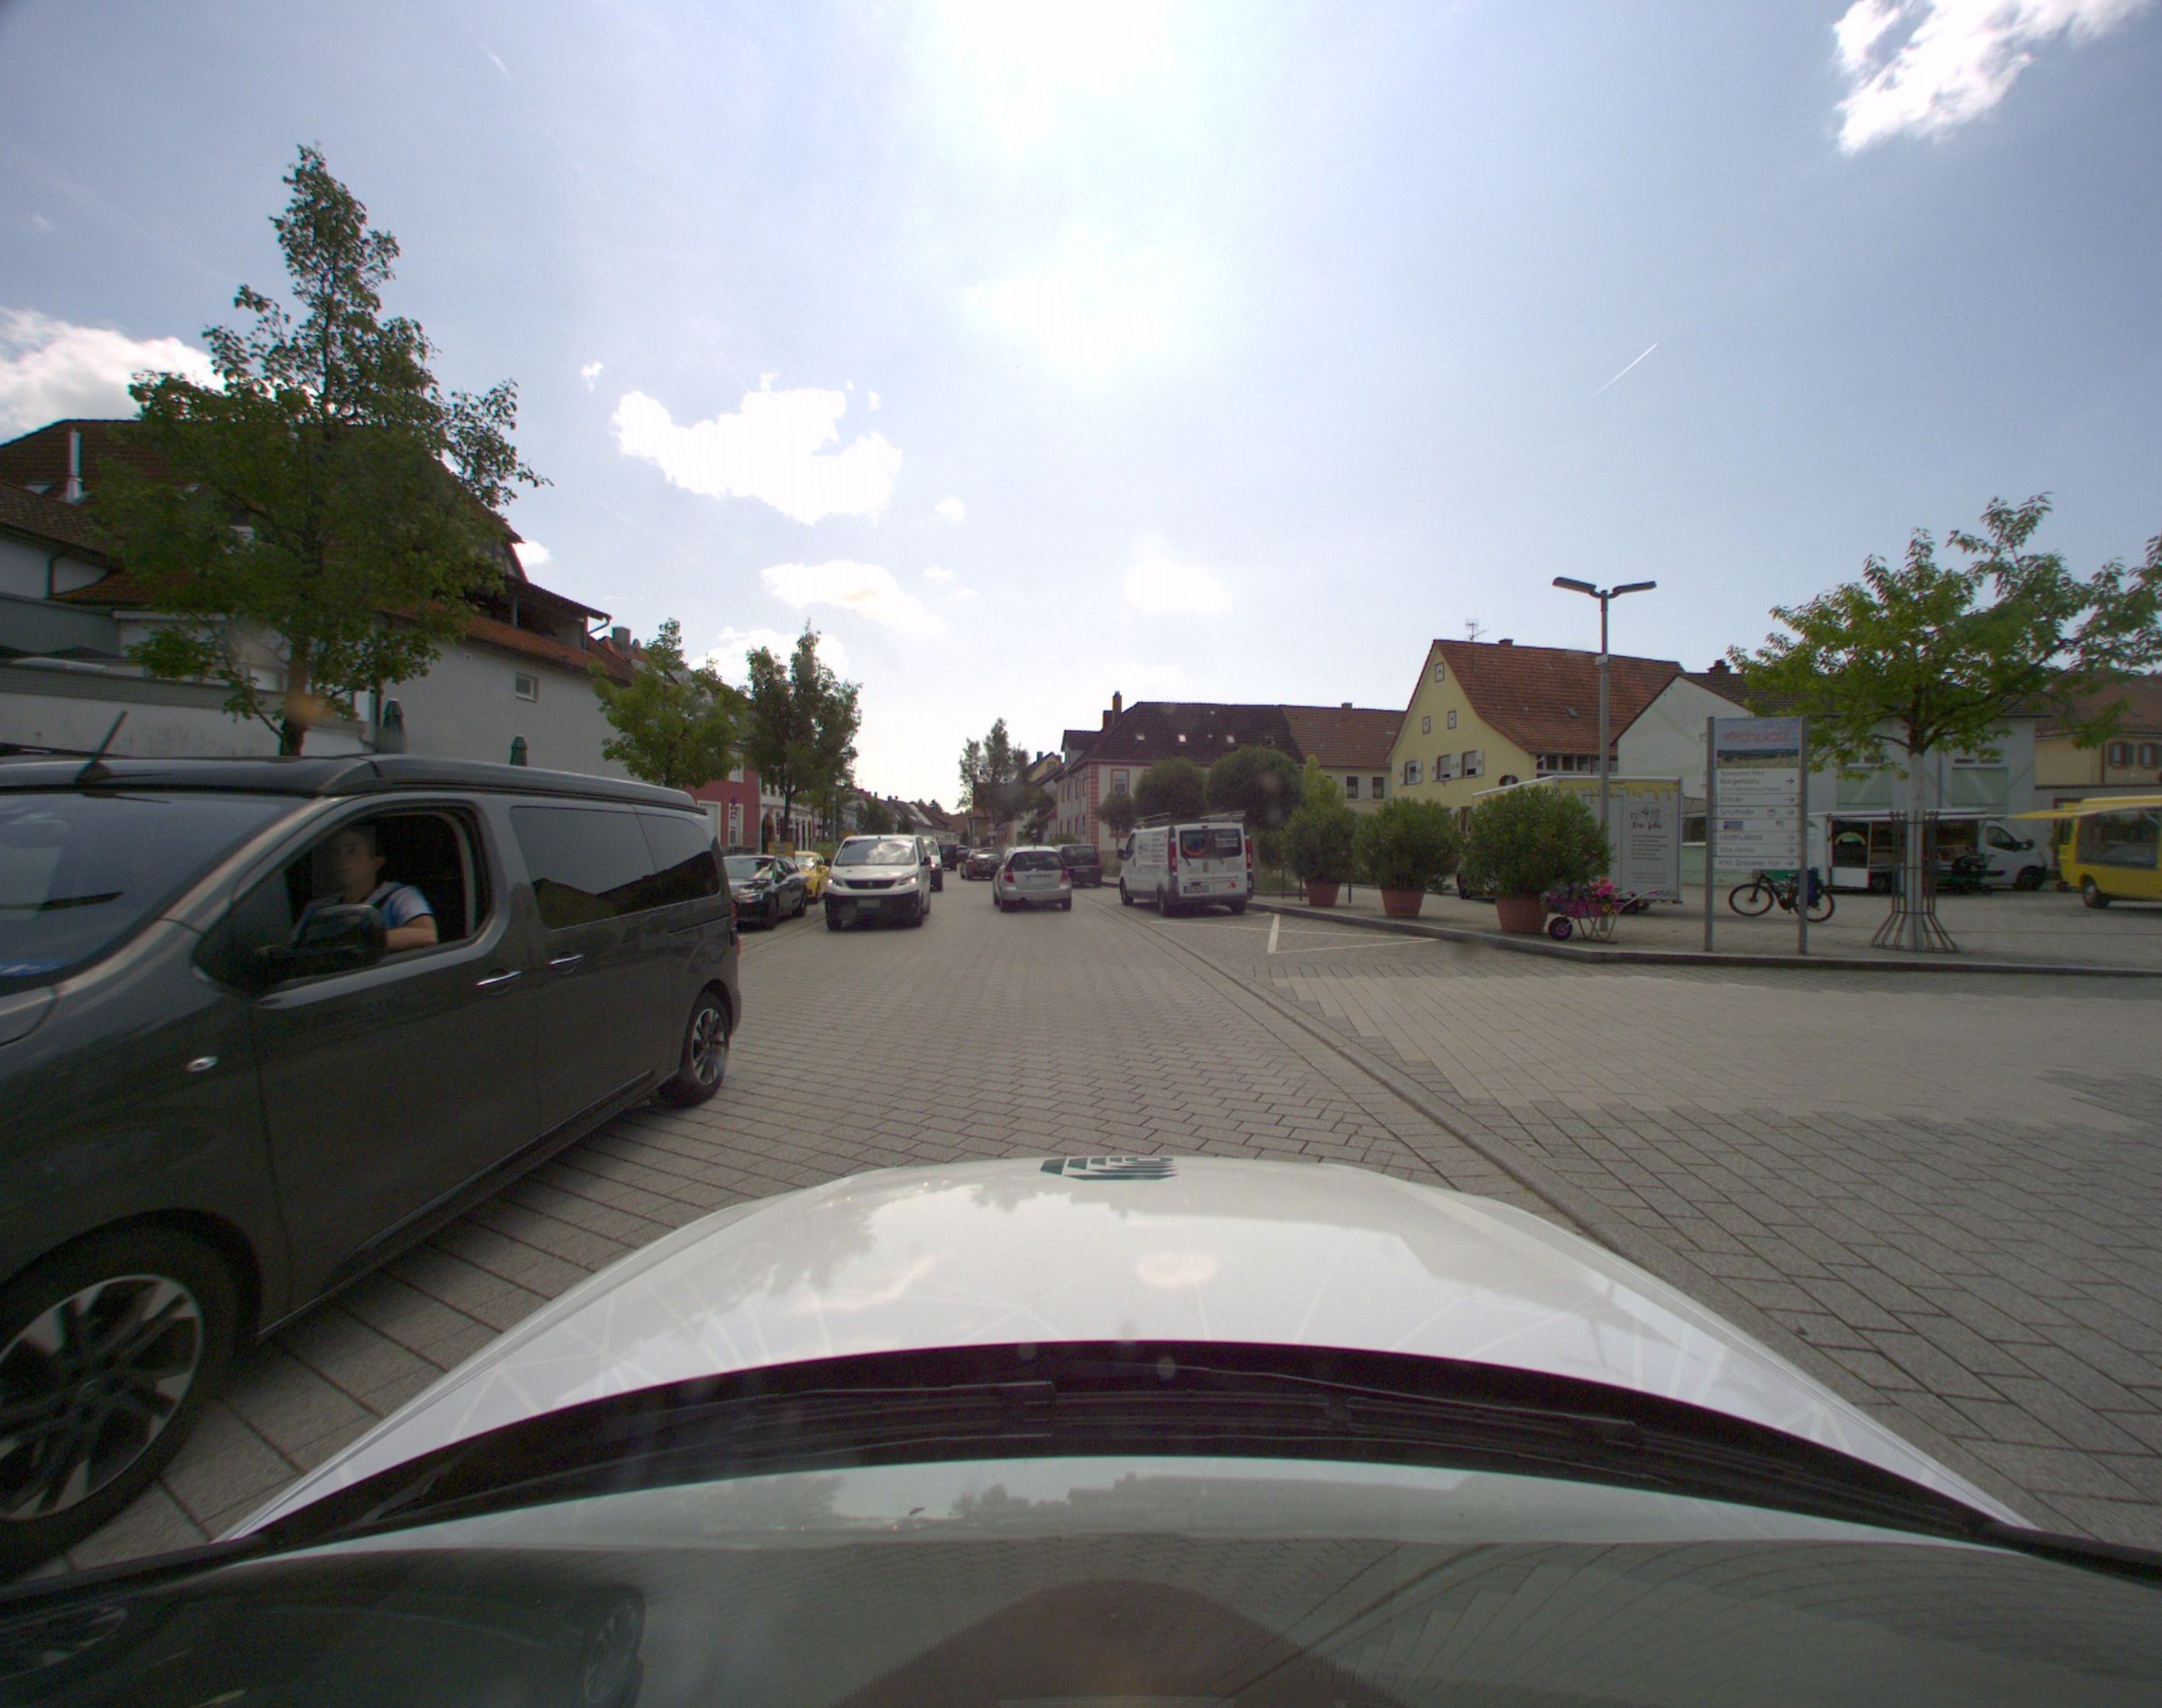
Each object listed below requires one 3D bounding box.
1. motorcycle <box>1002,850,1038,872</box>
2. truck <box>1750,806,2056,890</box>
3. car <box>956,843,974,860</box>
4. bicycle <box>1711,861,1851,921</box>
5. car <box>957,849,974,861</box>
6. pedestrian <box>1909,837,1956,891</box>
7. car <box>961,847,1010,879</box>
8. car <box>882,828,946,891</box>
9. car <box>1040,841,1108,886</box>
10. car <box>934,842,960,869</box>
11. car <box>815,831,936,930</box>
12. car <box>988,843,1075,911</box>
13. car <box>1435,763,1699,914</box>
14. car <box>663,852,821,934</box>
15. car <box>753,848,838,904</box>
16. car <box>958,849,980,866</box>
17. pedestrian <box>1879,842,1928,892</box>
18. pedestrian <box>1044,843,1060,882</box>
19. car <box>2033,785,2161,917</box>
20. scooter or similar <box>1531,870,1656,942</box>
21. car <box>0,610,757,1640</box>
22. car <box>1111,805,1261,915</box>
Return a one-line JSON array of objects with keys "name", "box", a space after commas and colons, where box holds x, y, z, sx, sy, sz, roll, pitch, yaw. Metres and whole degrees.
[{"name": "motorcycle", "box": [-3.964, 0.421, 53.027, 2.197, 1.394, 0.878, 0, 0, 31]}, {"name": "truck", "box": [25.701, -0.192, 25.726, 6.781, 2.497, 2.957, 0, 0, -1]}, {"name": "car", "box": [-15.020, -0.318, 105.400, 1.893, 1.982, 4.911, -2, 1, -11]}, {"name": "bicycle", "box": [13.906, 0.706, 16.271, 0.754, 1.068, 2.103, 0, 1, -11]}, {"name": "car", "box": [-13.865, 0.105, 97.333, 1.776, 1.495, 4.145, 0, 0, -11]}, {"name": "pedestrian", "box": [25.088, 0.284, 24.004, 0.557, 1.540, 0.815, 0, 0, 0]}, {"name": "car", "box": [-4.658, 0.390, 39.262, 1.947, 1.407, 3.983, 0, 1, -13]}, {"name": "car", "box": [-6.423, 0.180, 30.934, 1.892, 2.186, 5.000, 0, 0, -18]}, {"name": "car", "box": [-0.342, 0.326, 30.826, 1.770, 1.564, 4.401, 0, 0, -12]}, {"name": "car", "box": [-9.946, 0.122, 60.347, 1.769, 1.888, 4.431, 2, -1, -10]}, {"name": "car", "box": [-4.360, 0.481, 18.003, 1.992, 1.880, 4.854, 0, 1, -7]}, {"name": "car", "box": [-1.383, 0.517, 21.401, 1.769, 1.594, 3.985, -1, 1, -11]}, {"name": "car", "box": [11.175, -0.318, 19.723, 2.739, 2.963, 7.125, 1, 0, 6]}, {"name": "car", "box": [-6.828, 0.691, 16.962, 1.814, 1.423, 4.527, 0, 1, -6]}, {"name": "car", "box": [-8.218, 0.564, 23.733, 1.668, 1.474, 3.950, 0, 1, -9]}, {"name": "car", "box": [-11.643, 0.336, 84.269, 1.995, 1.680, 4.306, 0, 0, -11]}, {"name": "pedestrian", "box": [24.153, 0.380, 23.921, 0.641, 1.442, 0.761, -1, 0, -2]}, {"name": "pedestrian", "box": [-1.256, 0.356, 35.003, 0.639, 1.629, 0.618, 0, 0, -9]}, {"name": "car", "box": [22.718, -0.079, 16.576, 2.619, 2.477, 7.009, 0, 1, 35]}, {"name": "scooter or similar", "box": [6.711, 0.663, 10.718, 1.138, 0.881, 0.815, 0, 0, -2]}, {"name": "car", "box": [-3.208, 0.512, 3.418, 1.989, 2.013, 4.734, -1, 1, -3]}, {"name": "car", "box": [2.256, 0.097, 19.138, 1.943, 2.177, 5.082, -2, 1, -11]}]
